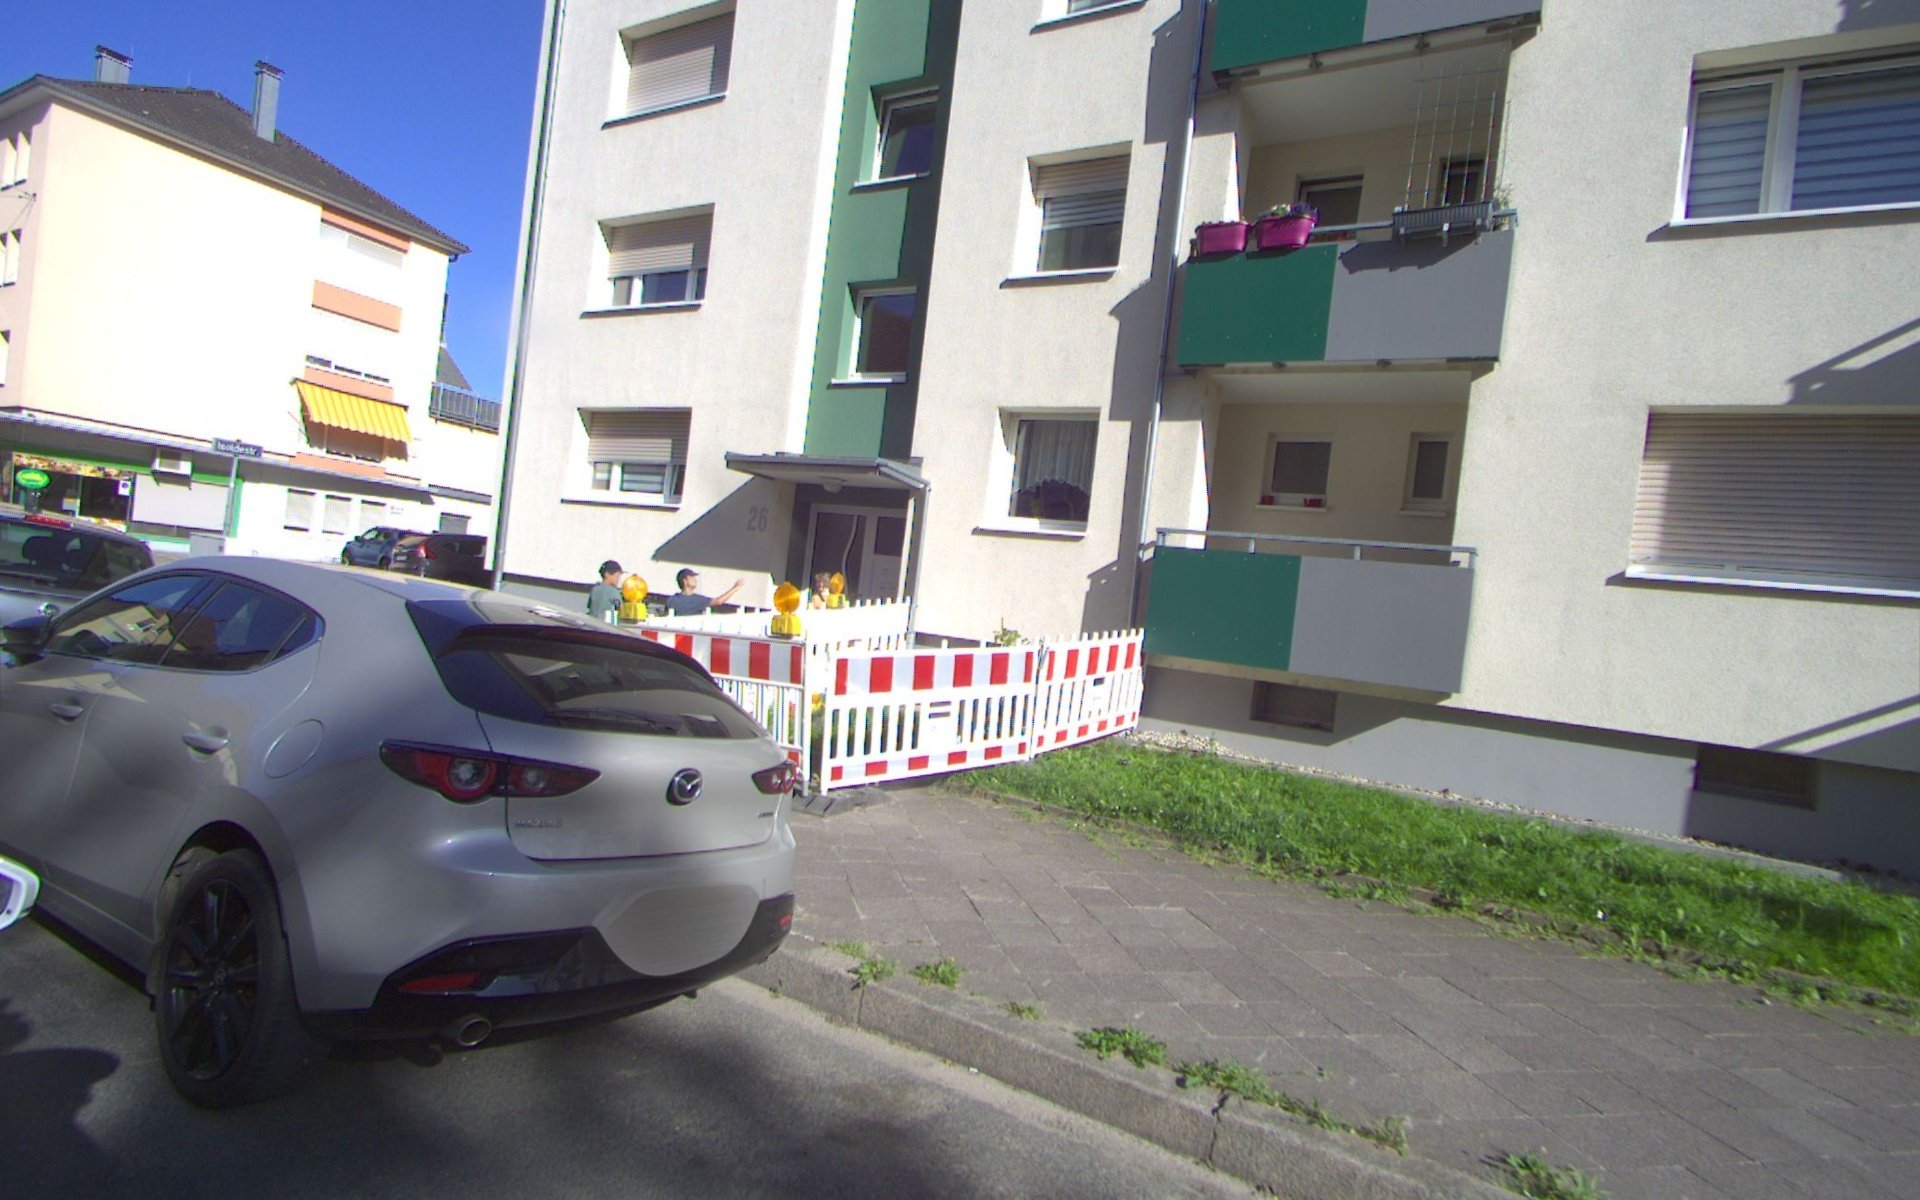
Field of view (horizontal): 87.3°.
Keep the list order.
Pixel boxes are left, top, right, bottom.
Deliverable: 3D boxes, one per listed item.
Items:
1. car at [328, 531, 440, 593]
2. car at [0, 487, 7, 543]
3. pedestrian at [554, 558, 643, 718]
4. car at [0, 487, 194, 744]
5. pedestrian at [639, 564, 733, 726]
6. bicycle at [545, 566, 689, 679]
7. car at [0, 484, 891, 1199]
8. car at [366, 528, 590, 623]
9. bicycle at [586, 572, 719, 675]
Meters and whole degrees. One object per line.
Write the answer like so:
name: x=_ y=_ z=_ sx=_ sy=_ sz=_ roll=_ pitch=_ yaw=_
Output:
car: x=-19.061 y=-1.268 z=33.267 sx=3.417 sy=1.632 sz=1.581 roll=7 pitch=0 yaw=30
car: x=-10.992 y=-0.513 z=9.280 sx=4.697 sy=1.541 sz=1.857 roll=6 pitch=-2 yaw=30
pedestrian: x=-3.467 y=0.359 z=9.650 sx=0.499 sy=1.452 sz=0.450 roll=7 pitch=2 yaw=26
car: x=-7.142 y=-0.062 z=6.856 sx=3.874 sy=1.477 sz=1.648 roll=6 pitch=-2 yaw=31
pedestrian: x=-2.620 y=0.423 z=9.635 sx=0.566 sy=1.452 sz=0.471 roll=7 pitch=2 yaw=21
bicycle: x=-4.195 y=0.239 z=12.242 sx=1.866 sy=1.135 sz=0.559 roll=7 pitch=5 yaw=32
car: x=-2.606 y=0.499 z=4.025 sx=4.268 sy=1.486 sz=1.797 roll=6 pitch=-5 yaw=32
car: x=-11.104 y=-0.513 z=23.449 sx=1.796 sy=1.632 sz=4.242 roll=7 pitch=-1 yaw=37
bicycle: x=-3.893 y=0.268 z=12.661 sx=1.866 sy=1.077 sz=0.445 roll=7 pitch=5 yaw=32
